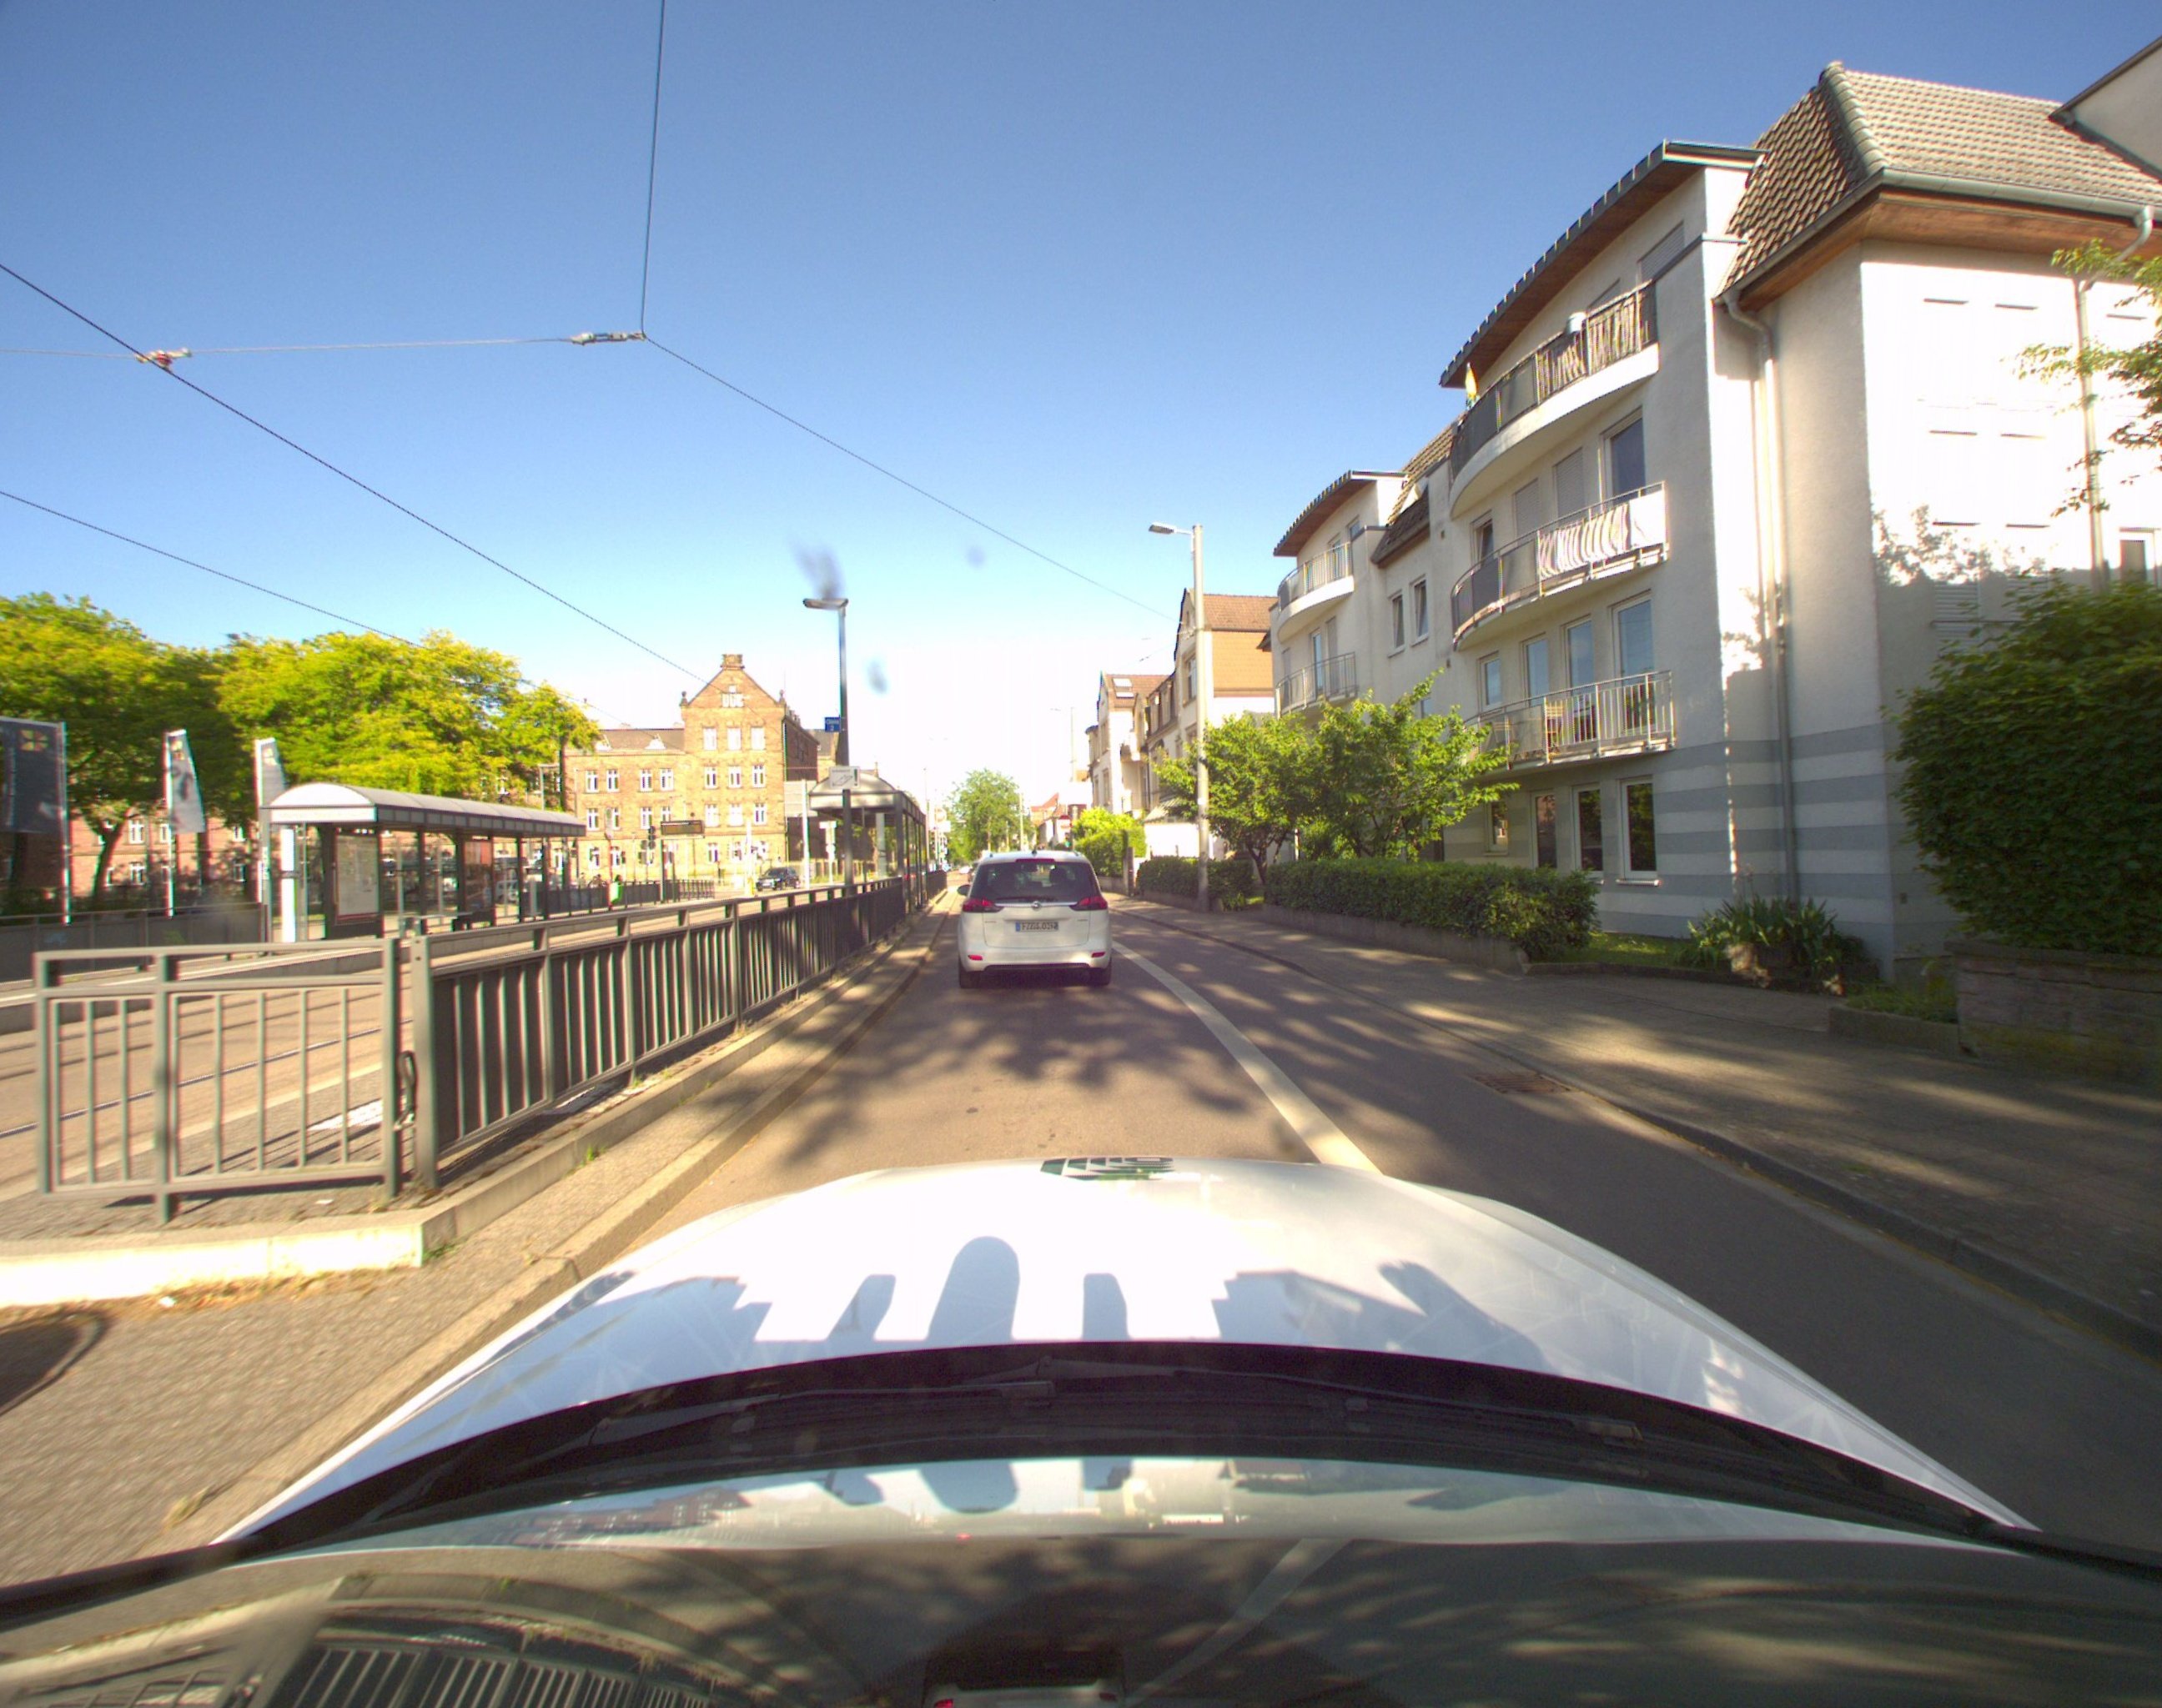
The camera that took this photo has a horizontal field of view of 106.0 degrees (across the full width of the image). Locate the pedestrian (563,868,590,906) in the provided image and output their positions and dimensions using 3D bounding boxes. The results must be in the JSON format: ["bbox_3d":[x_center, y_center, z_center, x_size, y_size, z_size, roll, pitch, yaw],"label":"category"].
[{"bbox_3d":[-25.733,1.662,41.550,0.725,1.861,1.094,-1,-1,-5],"label":"pedestrian"}]

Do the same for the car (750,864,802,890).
[{"bbox_3d":[-21.605,1.612,57.921,1.899,1.677,4.359,-2,0,1],"label":"car"}]

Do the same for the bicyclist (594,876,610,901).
[{"bbox_3d":[-32.101,2.318,54.569,0.633,1.636,0.799,-1,-1,-8],"label":"bicyclist"}]

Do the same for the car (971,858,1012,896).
[{"bbox_3d":[-4.209,1.069,38.139,1.774,1.632,3.870,-1,-1,-7],"label":"car"}]

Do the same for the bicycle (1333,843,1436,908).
[{"bbox_3d":[6.542,0.457,17.587,1.840,1.203,0.823,-5,0,-9],"label":"bicycle"}]

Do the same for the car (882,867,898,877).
[{"bbox_3d":[-31.409,2.914,133.843,1.990,1.596,3.992,-1,-1,-5],"label":"car"}]

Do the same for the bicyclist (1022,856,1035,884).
[{"bbox_3d":[-3.171,0.951,49.301,0.684,1.634,1.013,-1,-1,-5],"label":"bicyclist"}]

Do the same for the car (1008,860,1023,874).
[{"bbox_3d":[-7.929,1.561,98.561,1.773,1.632,3.872,-1,-1,-6],"label":"car"}]

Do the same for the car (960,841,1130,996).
[{"bbox_3d":[-0.615,0.732,10.926,1.833,1.642,3.909,-1,-1,-7],"label":"car"}]

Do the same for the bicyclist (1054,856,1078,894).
[{"bbox_3d":[-0.610,0.846,32.914,0.821,1.501,0.931,-1,-1,-8],"label":"bicyclist"}]

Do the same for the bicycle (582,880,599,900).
[{"bbox_3d":[-26.760,1.933,44.404,0.696,1.049,1.652,-1,-1,-34],"label":"bicycle"}]

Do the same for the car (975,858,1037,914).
[{"bbox_3d":[-2.203,0.876,23.825,1.584,1.420,3.892,-2,0,-6],"label":"car"}]

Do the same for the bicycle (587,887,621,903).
[{"bbox_3d":[-31.960,2.741,54.582,1.733,1.013,0.799,-1,-1,-8],"label":"bicycle"}]

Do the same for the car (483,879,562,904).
[{"bbox_3d":[-38.345,2.541,55.993,4.059,1.522,1.873,-1,-1,-6],"label":"car"}]

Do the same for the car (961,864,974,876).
[{"bbox_3d":[-16.642,2.284,119.370,1.773,1.692,3.872,-1,-1,-6],"label":"car"}]

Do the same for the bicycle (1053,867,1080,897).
[{"bbox_3d":[-0.604,1.126,32.940,0.829,1.154,2.088,-1,-1,-8],"label":"bicycle"}]

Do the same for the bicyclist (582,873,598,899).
[{"bbox_3d":[-26.746,1.730,44.379,0.694,1.383,0.528,-1,-1,-34],"label":"bicyclist"}]
